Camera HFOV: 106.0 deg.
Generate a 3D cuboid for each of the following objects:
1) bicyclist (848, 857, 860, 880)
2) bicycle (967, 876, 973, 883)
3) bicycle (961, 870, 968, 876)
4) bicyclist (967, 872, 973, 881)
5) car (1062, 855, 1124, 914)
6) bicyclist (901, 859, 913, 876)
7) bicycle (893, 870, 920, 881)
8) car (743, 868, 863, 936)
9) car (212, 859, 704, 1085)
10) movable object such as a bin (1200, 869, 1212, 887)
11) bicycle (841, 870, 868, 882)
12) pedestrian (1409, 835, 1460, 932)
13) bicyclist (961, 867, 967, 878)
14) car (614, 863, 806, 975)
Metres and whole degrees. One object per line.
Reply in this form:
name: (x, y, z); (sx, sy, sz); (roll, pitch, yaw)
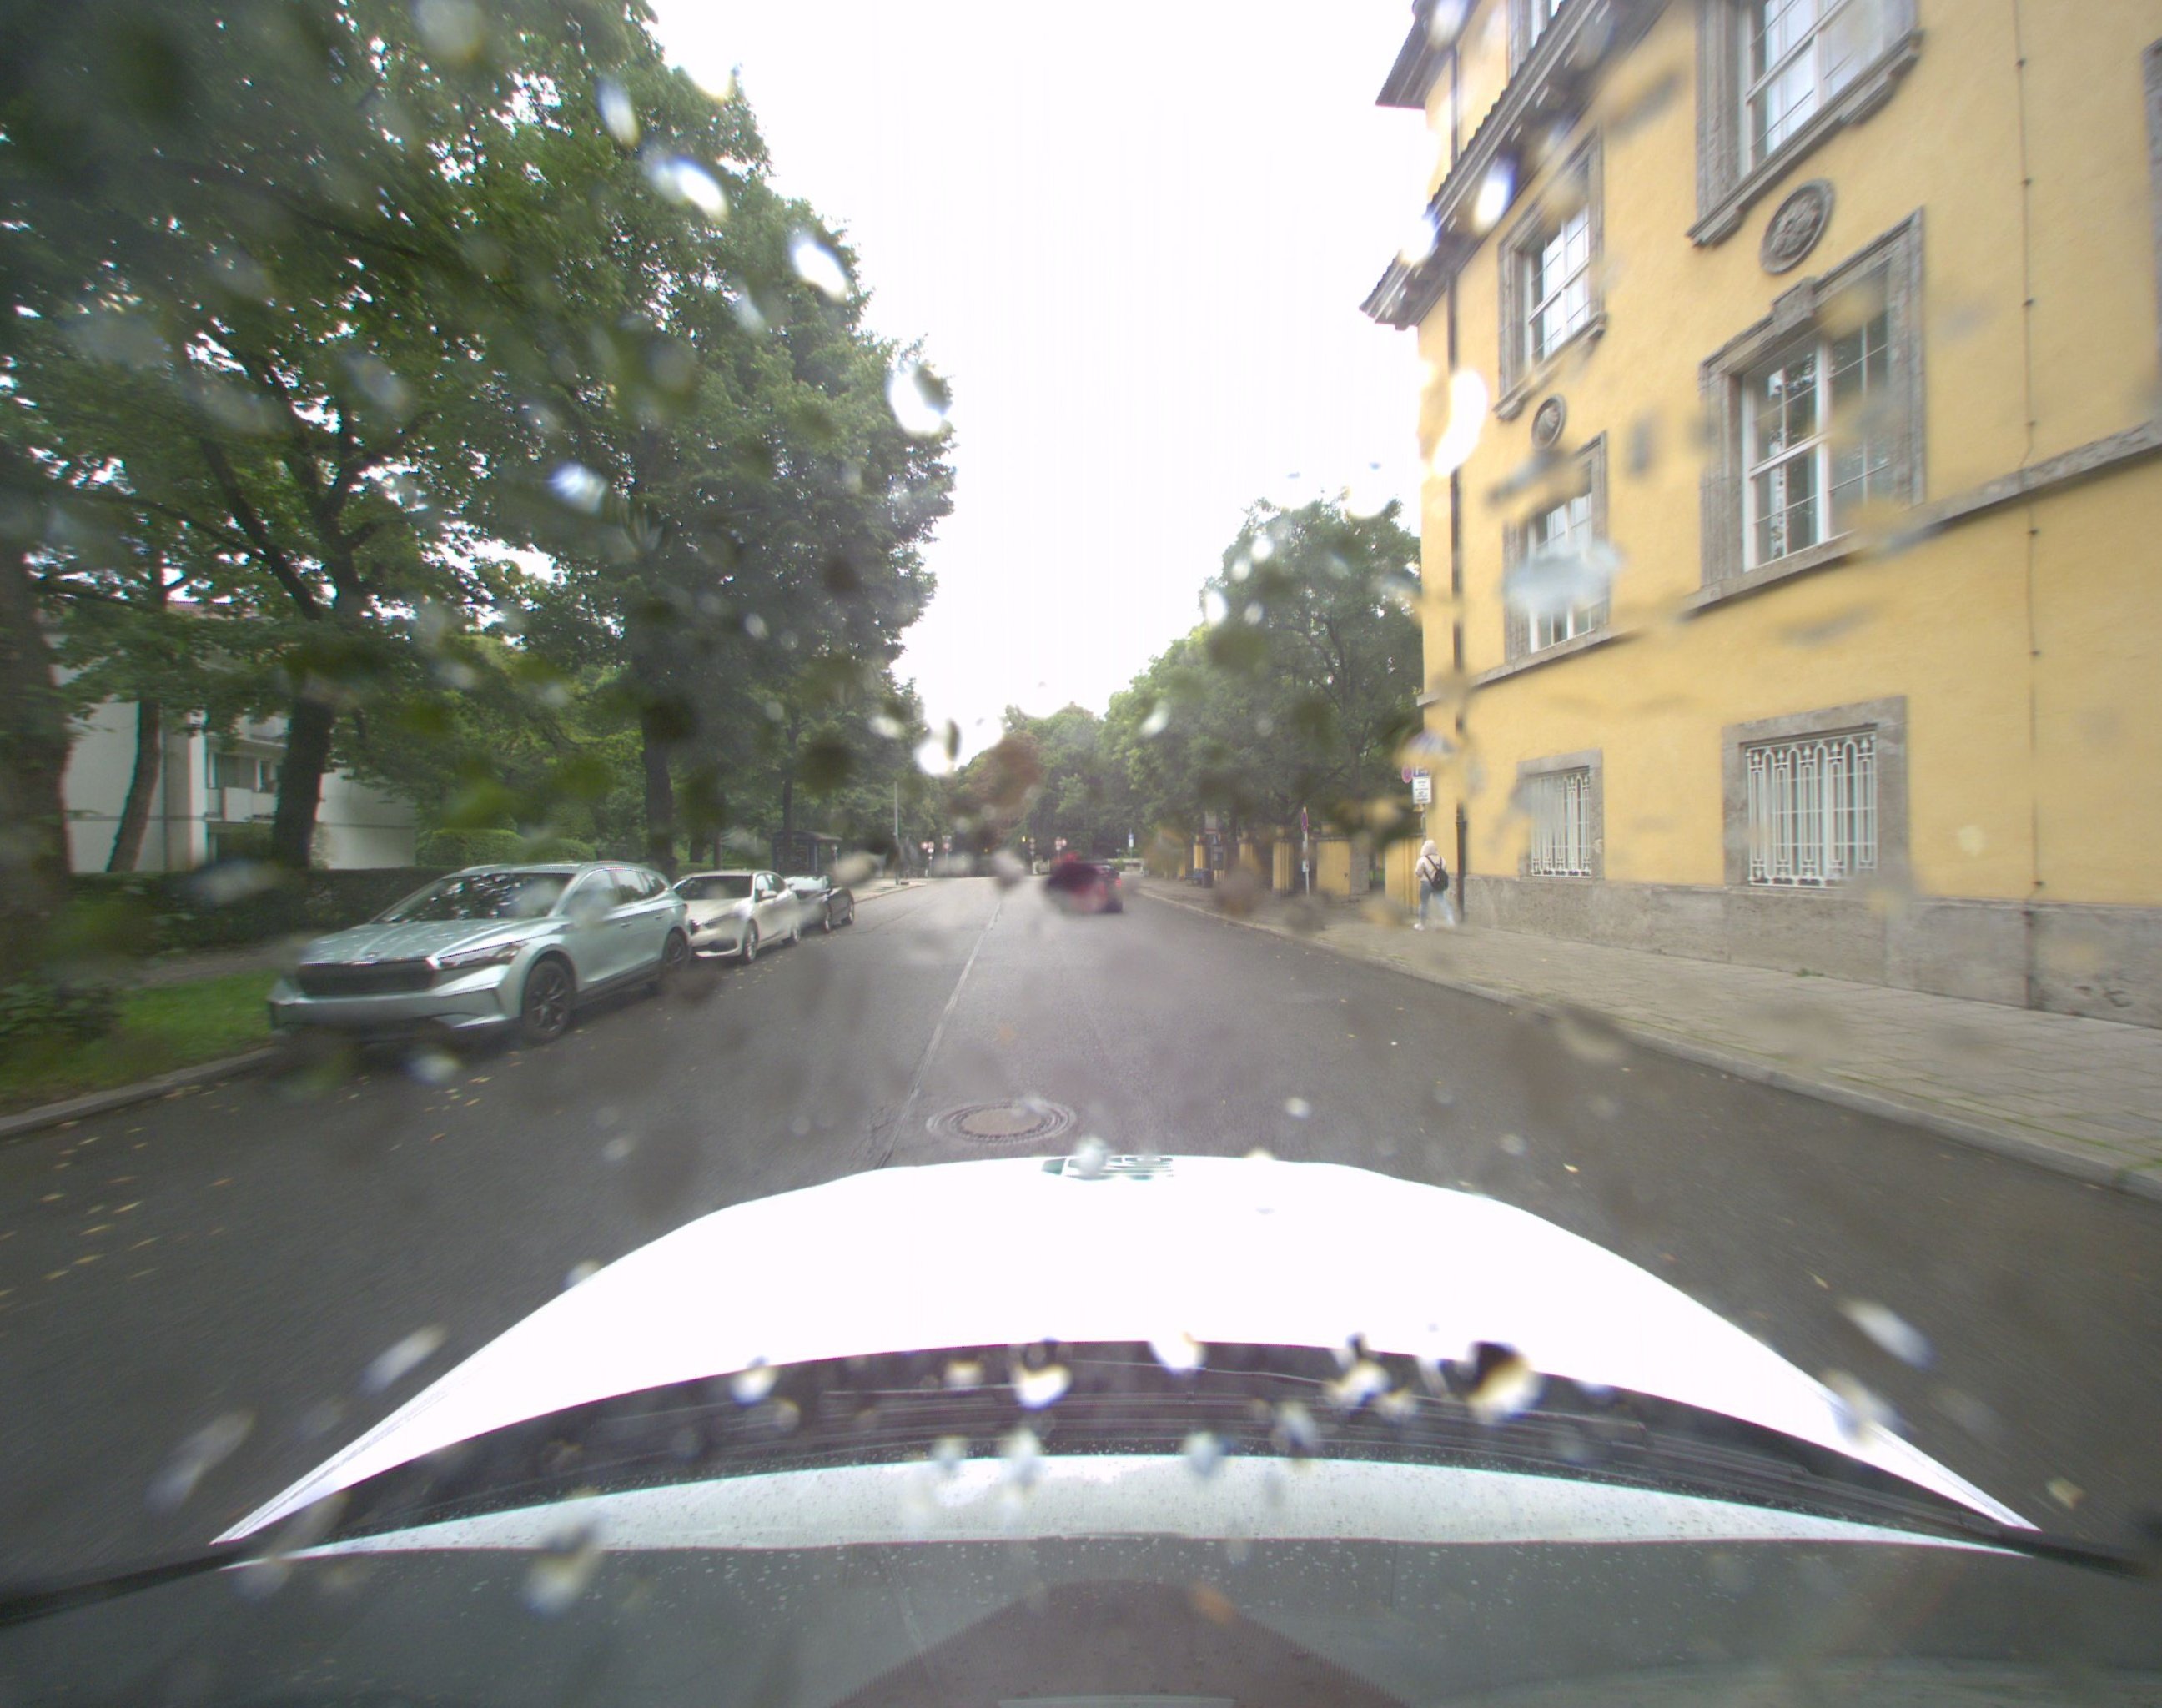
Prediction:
bicyclist: (-15.616, 0.979, 56.105); (0.751, 1.585, 0.653); (-1, -1, -12)
bicycle: (-13.785, 3.155, 101.342); (0.678, 0.830, 2.106); (-1, -1, -5)
bicycle: (-16.382, 2.628, 114.212); (0.680, 0.830, 2.099); (-1, -1, -14)
bicyclist: (-13.795, 2.785, 101.349); (0.679, 1.187, 0.480); (-1, 0, -5)
car: (0.273, 0.838, 24.018); (1.573, 1.584, 4.040); (-1, 0, -2)
bicyclist: (-13.648, 1.065, 63.998); (0.674, 1.282, 0.603); (-2, 0, 37)
bicycle: (-13.679, 1.701, 63.934); (0.673, 0.830, 2.123); (-2, -1, 37)
car: (-6.302, 1.028, 18.919); (1.574, 1.343, 4.039); (-1, 0, -3)
car: (-5.596, 0.874, 8.238); (1.812, 1.601, 4.504); (-1, 0, -6)
movable object such as a bin: (5.325, 1.020, 34.660); (0.396, 0.780, 0.464); (-1, 0, -3)
bicycle: (-15.580, 1.488, 56.089); (1.764, 0.797, 0.568); (0, -1, -12)
pedestrian: (6.220, 0.512, 14.348); (0.559, 1.638, 0.570); (-3, 0, -6)
bicyclist: (-16.410, 2.587, 114.313); (0.682, 1.504, 0.897); (-1, 0, -14)
car: (-5.858, 0.918, 13.412); (1.575, 1.497, 4.191); (-1, 0, -6)
